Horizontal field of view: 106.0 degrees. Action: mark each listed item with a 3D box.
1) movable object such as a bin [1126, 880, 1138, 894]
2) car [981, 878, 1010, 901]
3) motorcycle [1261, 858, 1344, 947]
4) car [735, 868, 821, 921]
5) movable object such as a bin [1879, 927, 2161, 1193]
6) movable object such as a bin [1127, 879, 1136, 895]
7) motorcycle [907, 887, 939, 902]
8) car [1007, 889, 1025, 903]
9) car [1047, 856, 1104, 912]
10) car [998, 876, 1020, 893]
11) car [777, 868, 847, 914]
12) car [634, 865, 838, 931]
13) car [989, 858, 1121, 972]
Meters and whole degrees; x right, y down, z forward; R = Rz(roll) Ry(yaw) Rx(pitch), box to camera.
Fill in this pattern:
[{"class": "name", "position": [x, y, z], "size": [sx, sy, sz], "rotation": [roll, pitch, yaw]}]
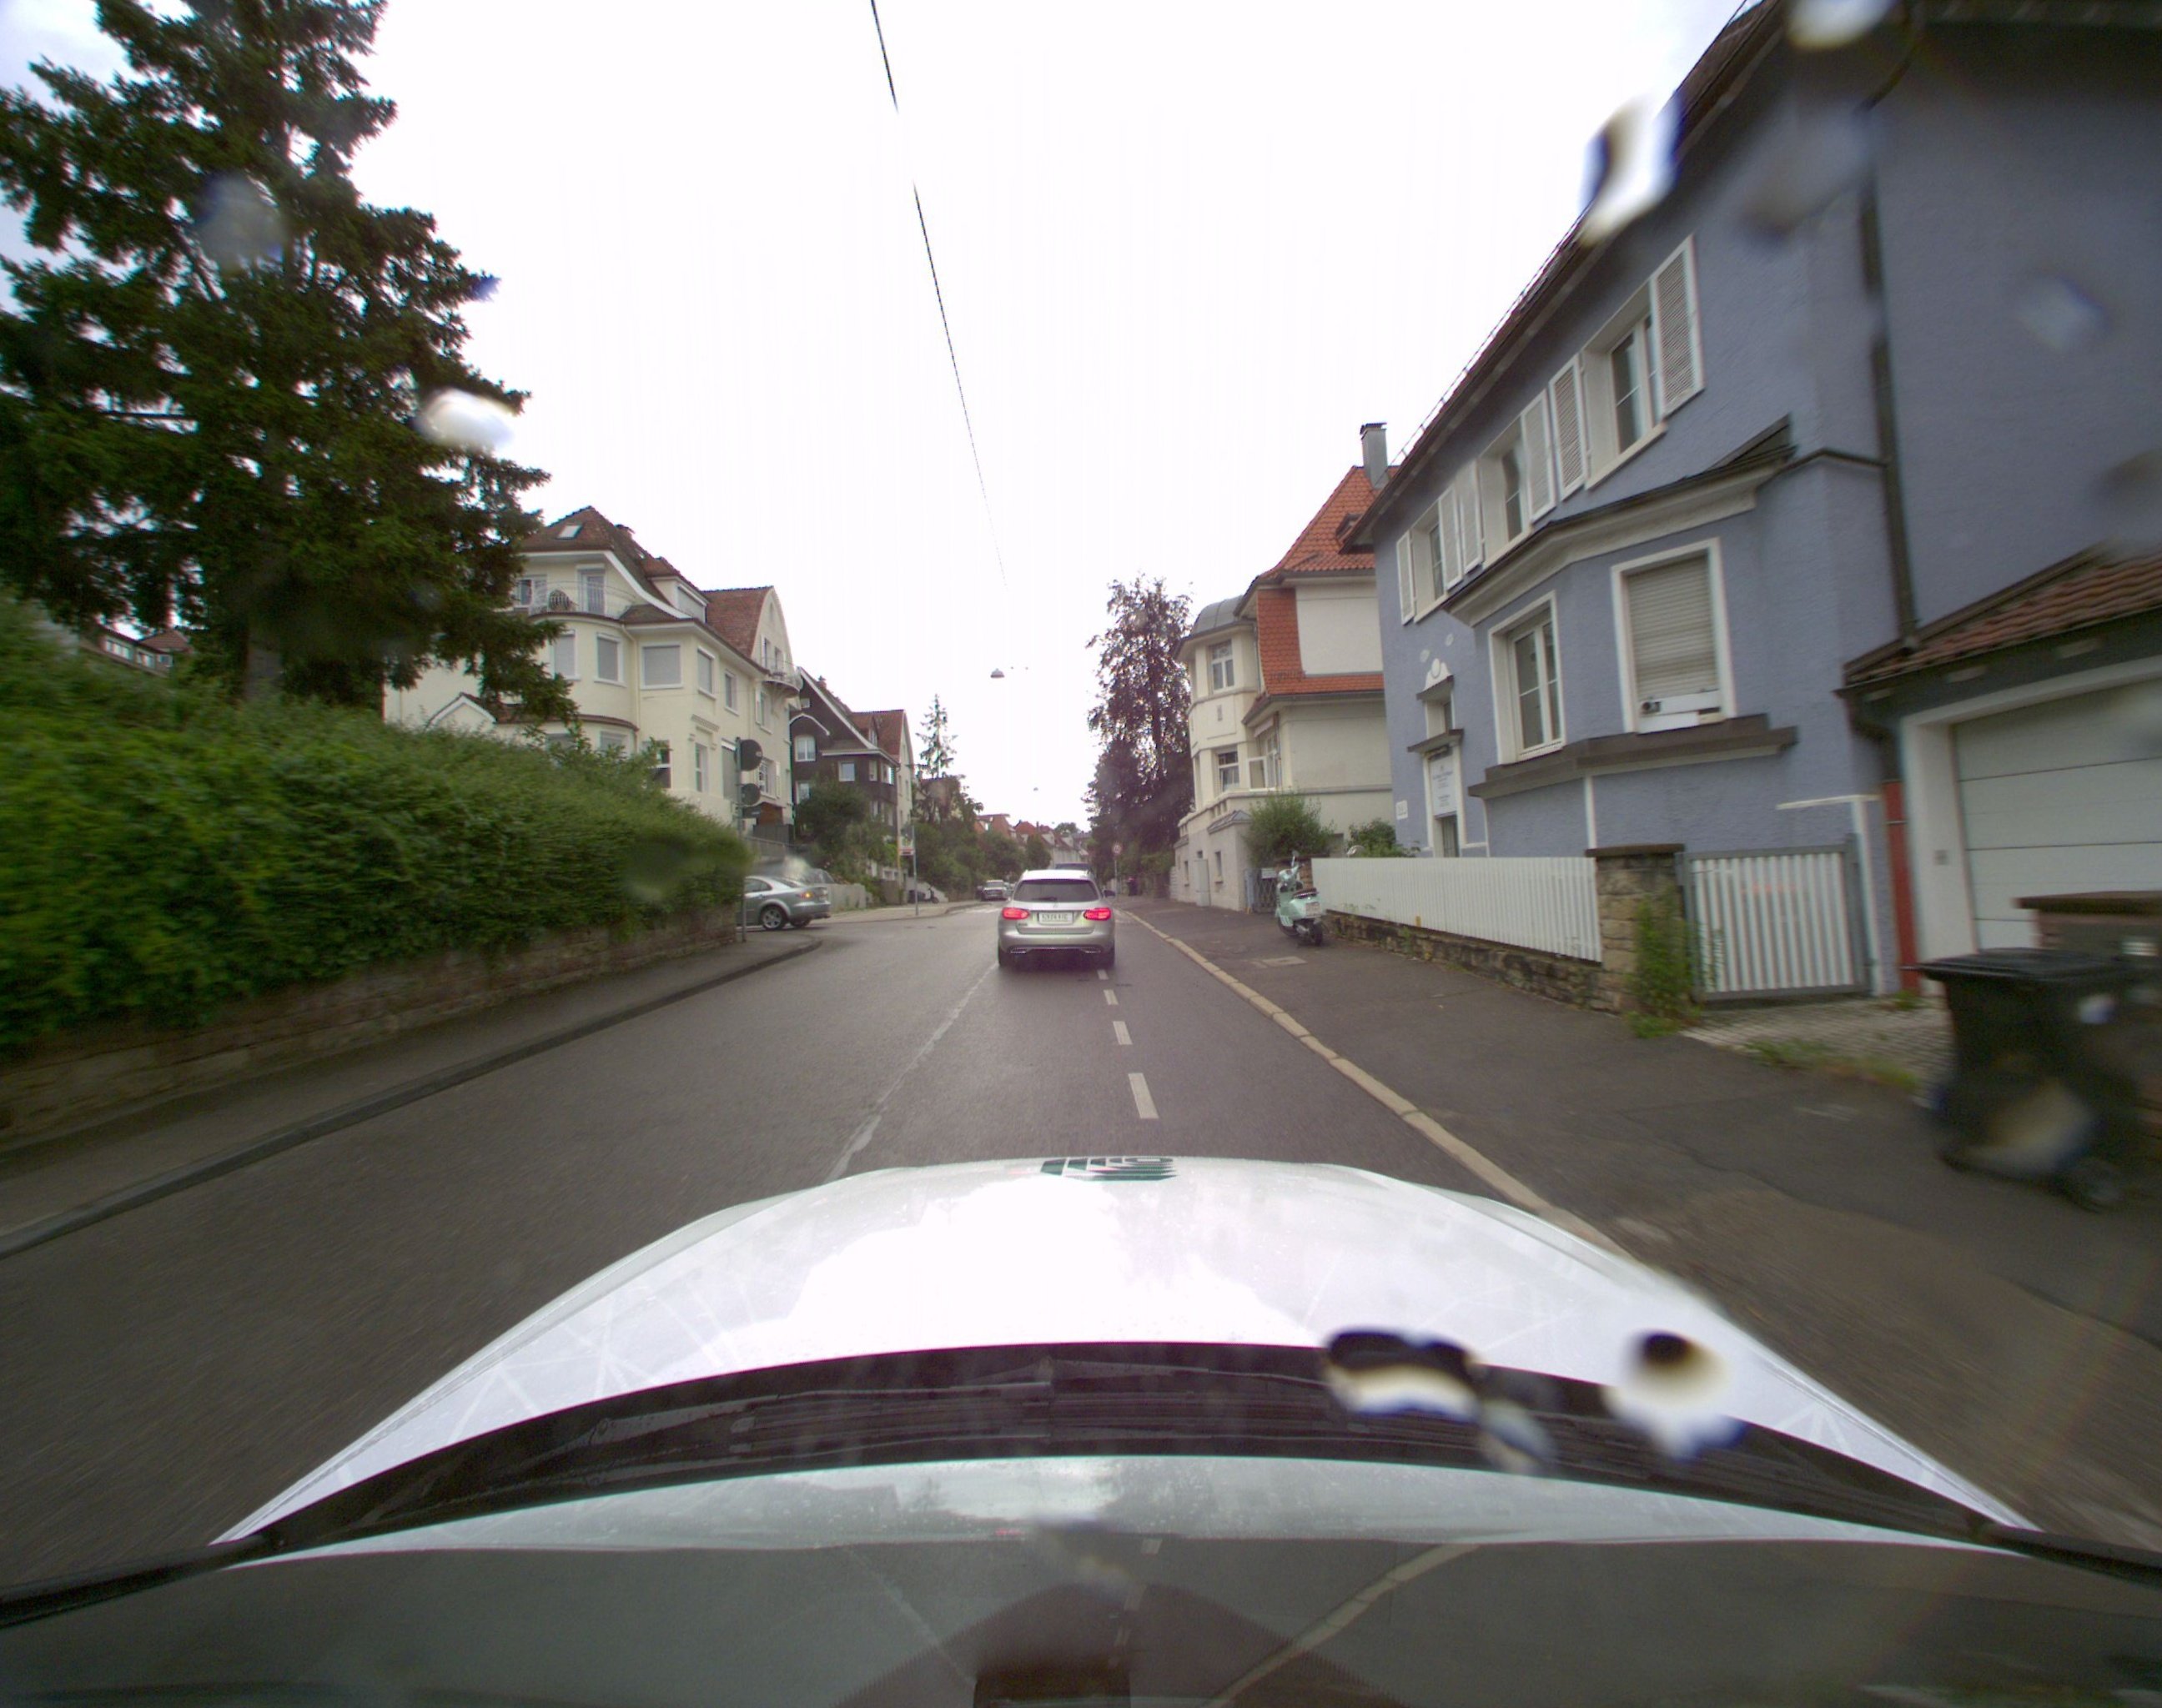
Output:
[{"class": "movable object such as a bin", "position": [3.174, 2.037, 50.574], "size": [0.649, 0.856, 0.502], "rotation": [-2, -1, -4]}, {"class": "car", "position": [-6.467, 2.668, 61.992], "size": [1.888, 1.623, 4.375], "rotation": [-2, -2, -2]}, {"class": "motorcycle", "position": [3.513, 0.729, 13.153], "size": [0.690, 1.226, 2.155], "rotation": [-9, -1, 3]}, {"class": "car", "position": [-10.426, 1.340, 28.274], "size": [1.763, 1.618, 3.992], "rotation": [-2, -1, -5]}, {"class": "movable object such as a bin", "position": [3.816, 0.800, 3.342], "size": [0.531, 0.918, 0.487], "rotation": [-5, -1, -3]}, {"class": "movable object such as a bin", "position": [3.161, 2.080, 51.226], "size": [0.493, 0.956, 0.502], "rotation": [-2, -1, -3]}, {"class": "motorcycle", "position": [-9.657, 2.495, 49.843], "size": [1.789, 0.903, 0.603], "rotation": [0, -3, -2]}, {"class": "car", "position": [-7.032, 4.509, 88.242], "size": [1.689, 1.447, 3.811], "rotation": [-2, -3, -1]}, {"class": "car", "position": [-0.130, 1.173, 30.728], "size": [1.835, 1.904, 4.002], "rotation": [-2, -3, 3]}, {"class": "car", "position": [-6.760, 2.804, 76.526], "size": [1.751, 1.447, 4.412], "rotation": [-2, -1, -2]}, {"class": "car", "position": [-10.853, 1.453, 33.114], "size": [1.763, 1.696, 3.992], "rotation": [-2, -1, -5]}, {"class": "car", "position": [-8.646, 1.093, 20.735], "size": [4.355, 1.557, 1.820], "rotation": [1, -1, -3]}, {"class": "car", "position": [-0.387, 0.887, 13.429], "size": [1.811, 1.556, 3.998], "rotation": [-1, -1, -1]}]
